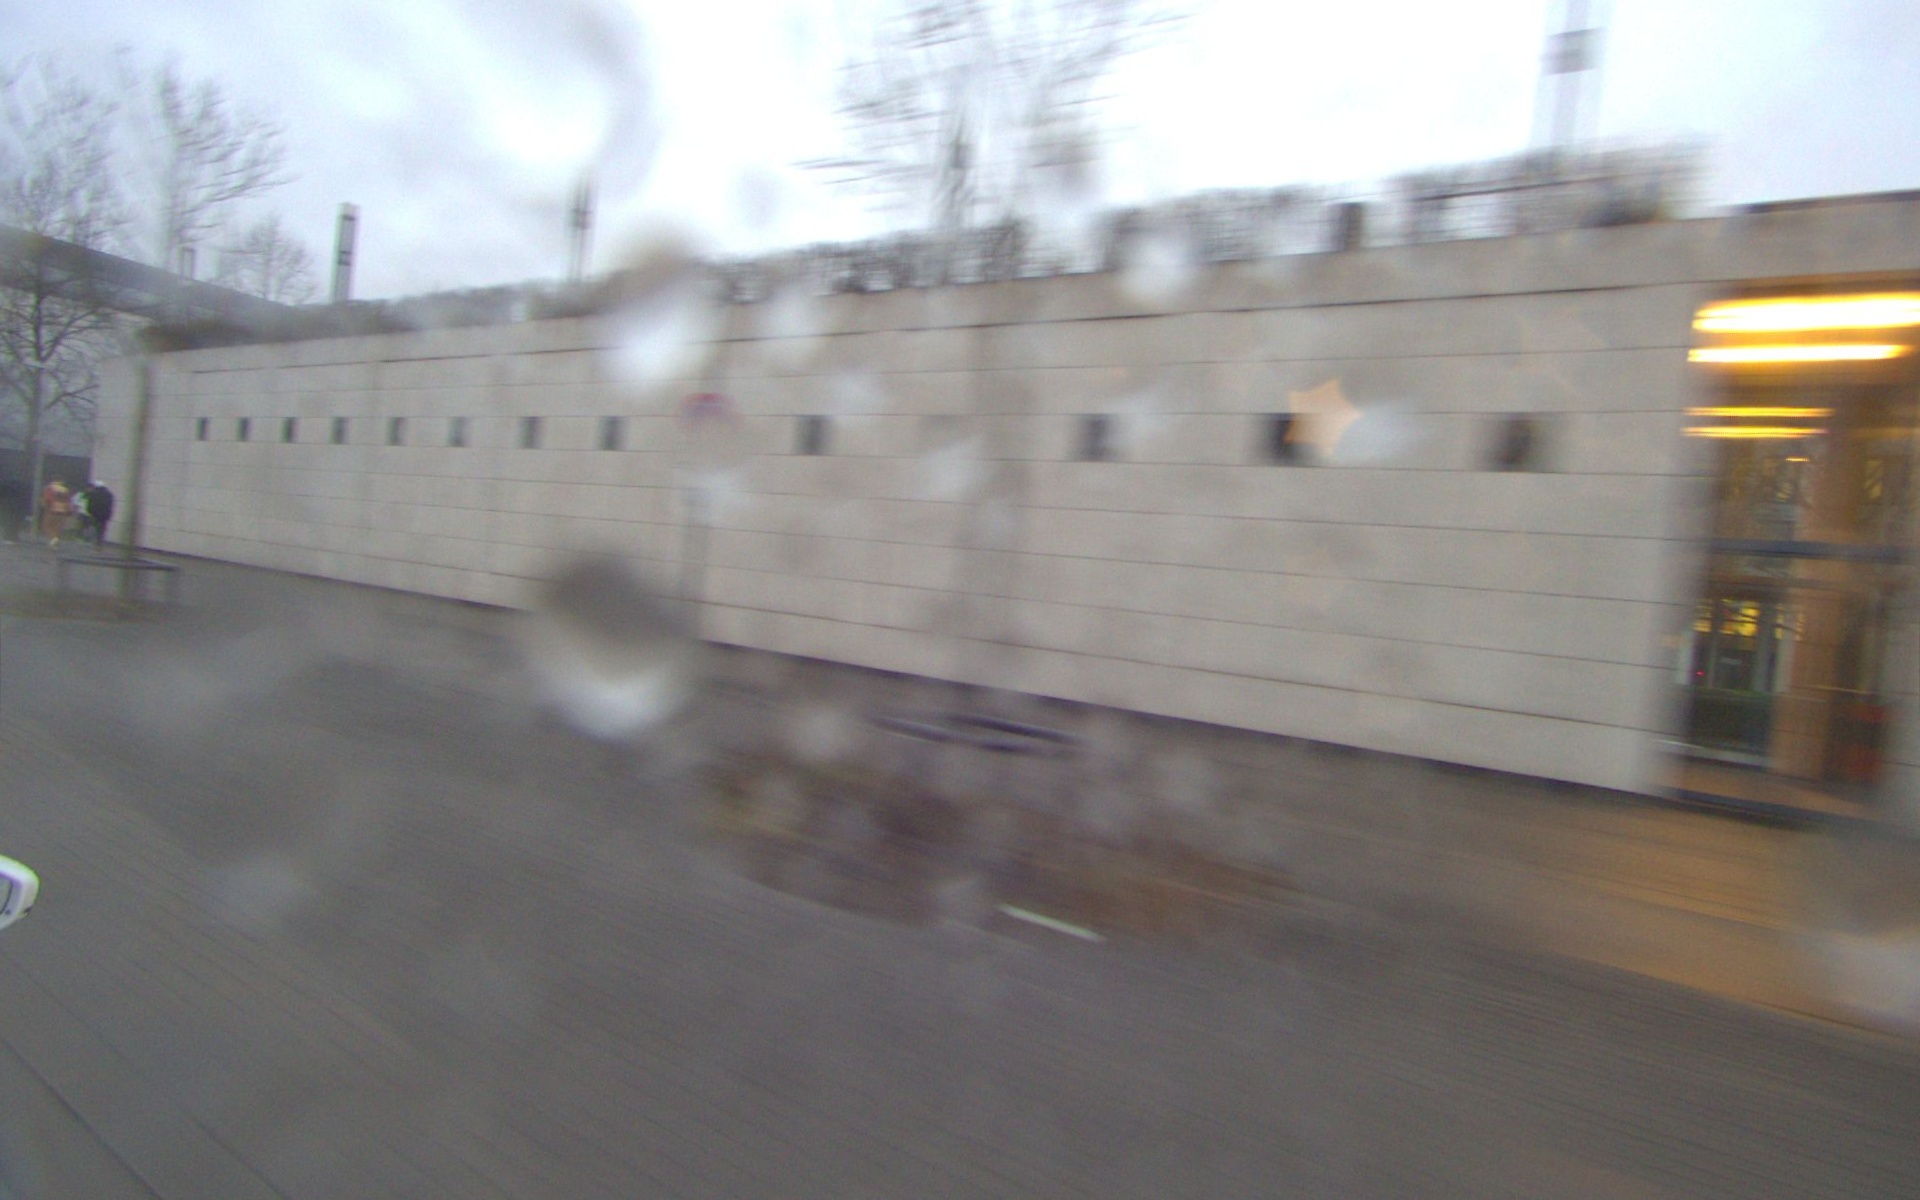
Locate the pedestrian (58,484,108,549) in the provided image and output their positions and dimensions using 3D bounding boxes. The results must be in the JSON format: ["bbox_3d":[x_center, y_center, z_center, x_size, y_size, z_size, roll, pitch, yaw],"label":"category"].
[{"bbox_3d":[-24.425,-2.325,28.019,0.977,1.676,0.668,6,1,27],"label":"pedestrian"}]

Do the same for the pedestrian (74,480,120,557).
[{"bbox_3d":[-21.375,-2.010,24.920,0.671,1.799,0.606,8,-1,-45],"label":"pedestrian"}]

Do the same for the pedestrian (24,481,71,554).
[{"bbox_3d":[-21.967,-1.975,24.220,0.671,1.631,0.606,8,-1,-44],"label":"pedestrian"}]

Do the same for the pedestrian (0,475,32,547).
[{"bbox_3d":[-23.354,-2.188,24.716,0.670,1.644,0.607,8,-1,-43],"label":"pedestrian"}]
